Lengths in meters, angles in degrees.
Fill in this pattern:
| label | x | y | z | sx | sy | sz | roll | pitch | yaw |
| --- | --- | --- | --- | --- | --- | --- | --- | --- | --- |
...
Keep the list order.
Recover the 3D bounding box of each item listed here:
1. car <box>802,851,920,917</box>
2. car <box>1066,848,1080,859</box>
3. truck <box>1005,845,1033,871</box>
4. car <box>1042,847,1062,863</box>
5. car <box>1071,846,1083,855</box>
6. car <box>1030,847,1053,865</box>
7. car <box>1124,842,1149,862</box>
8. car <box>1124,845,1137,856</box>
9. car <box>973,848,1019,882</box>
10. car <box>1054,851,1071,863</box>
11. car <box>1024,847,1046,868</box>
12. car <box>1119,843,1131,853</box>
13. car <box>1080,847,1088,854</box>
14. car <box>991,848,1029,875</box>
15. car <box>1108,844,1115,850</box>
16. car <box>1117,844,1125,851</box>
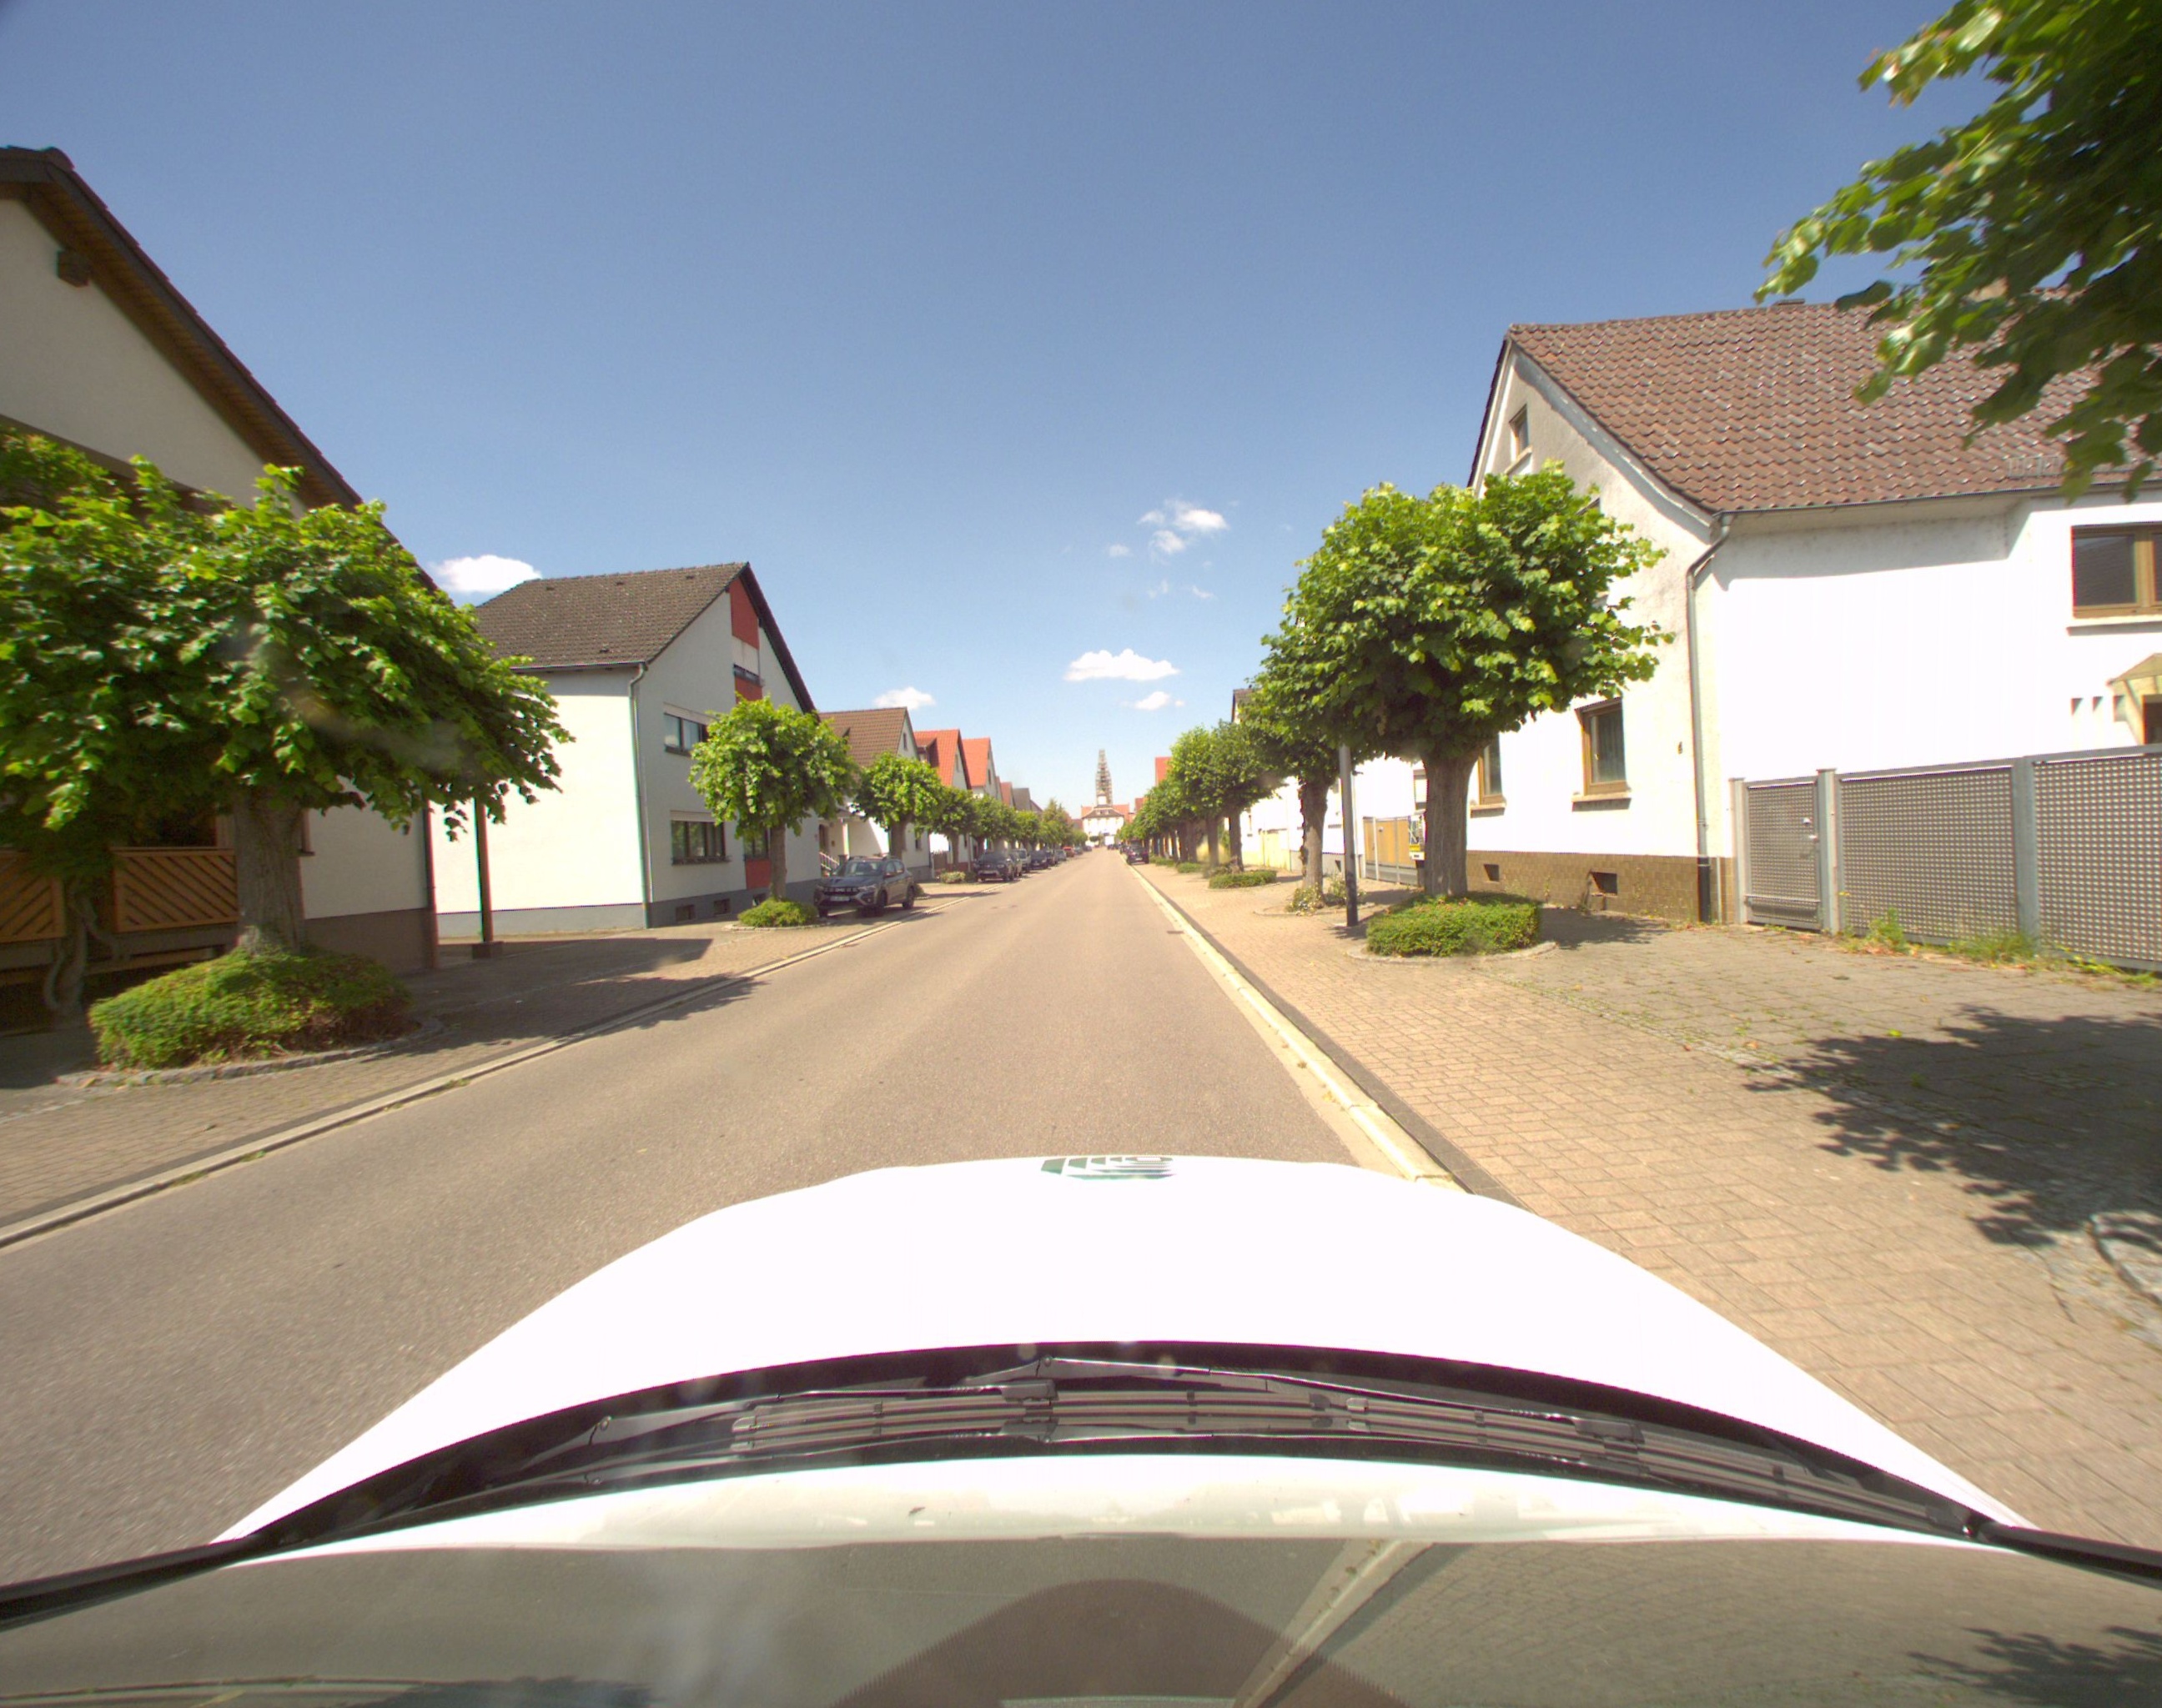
| label | x | y | z | sx | sy | sz | roll | pitch | yaw |
| --- | --- | --- | --- | --- | --- | --- | --- | --- | --- |
| car | -5.900 | 0.740 | 22.375 | 1.845 | 1.613 | 4.139 | 0 | 0 | 4 |
| car | -1.243 | -0.125 | 130.161 | 1.985 | 1.611 | 4.693 | -1 | 0 | 3 |
| truck | -4.458 | 0.280 | 59.125 | 1.570 | 1.765 | 4.194 | 0 | 0 | 2 |
| car | -3.061 | 0.080 | 85.608 | 1.988 | 1.652 | 4.365 | -2 | 0 | -1 |
| car | -0.675 | -0.613 | 152.015 | 1.985 | 1.611 | 4.693 | 0 | 1 | 3 |
| car | -3.669 | 0.180 | 75.987 | 1.846 | 1.635 | 4.058 | -1 | 0 | 2 |
| car | 4.570 | -0.206 | 67.693 | 1.817 | 1.432 | 4.059 | -5 | 1 | 2 |
| car | 7.940 | -0.619 | 130.072 | 1.831 | 1.607 | 4.000 | -2 | 1 | 1 |
| car | -4.434 | 0.551 | 43.020 | 1.846 | 1.636 | 4.301 | 0 | 1 | 2 |
| car | -2.255 | 0.321 | 100.211 | 1.834 | 1.396 | 4.408 | -2 | 0 | 1 |
| car | -3.802 | 0.262 | 67.386 | 1.782 | 1.634 | 3.995 | -1 | 0 | -4 |
| car | 7.423 | -1.030 | 137.519 | 1.830 | 1.555 | 4.315 | -4 | 0 | 2 |
| car | 0.711 | -0.781 | 194.734 | 1.750 | 1.555 | 4.023 | -3 | 1 | 3 |
| car | -4.414 | 0.455 | 51.116 | 1.846 | 1.613 | 4.373 | 0 | 0 | 2 |
| car | 7.454 | -1.651 | 197.270 | 1.723 | 1.547 | 3.457 | -1 | 0 | 2 |
| car | 9.803 | -1.712 | 200.178 | 1.830 | 1.555 | 4.317 | -4 | 0 | 3 |
